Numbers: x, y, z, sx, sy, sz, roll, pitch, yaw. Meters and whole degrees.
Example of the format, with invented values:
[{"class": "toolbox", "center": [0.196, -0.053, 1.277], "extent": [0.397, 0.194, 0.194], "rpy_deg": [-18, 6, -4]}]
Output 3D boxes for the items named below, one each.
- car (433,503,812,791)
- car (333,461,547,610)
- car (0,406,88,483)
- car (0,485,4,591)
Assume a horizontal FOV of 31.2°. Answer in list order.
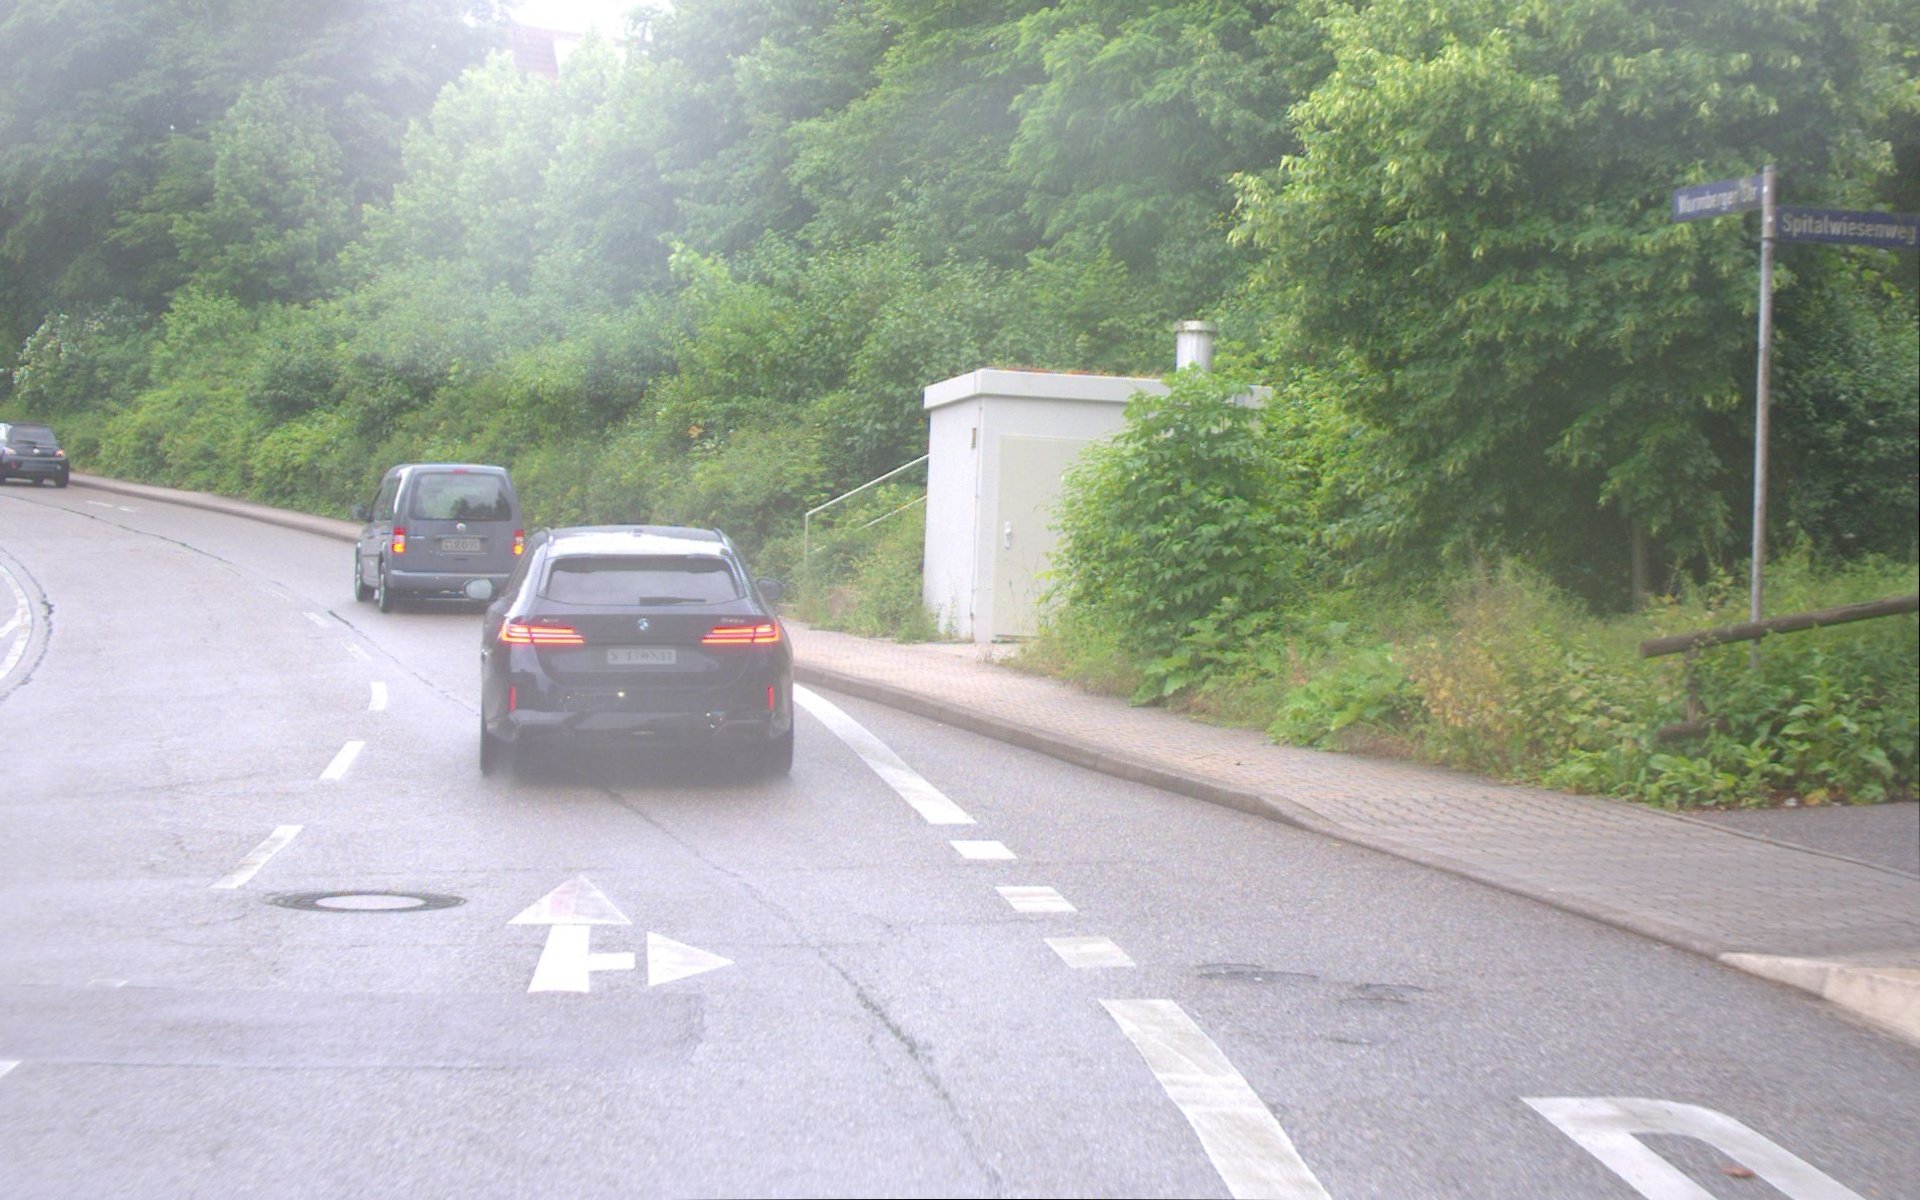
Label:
[{"class": "car", "center": [-2.287, 0.214, 22.099], "extent": [1.993, 1.580, 4.665], "rpy_deg": [2, 1, -10]}, {"class": "car", "center": [-6.537, -0.825, 42.907], "extent": [1.993, 1.742, 4.001], "rpy_deg": [1, 1, -18]}, {"class": "car", "center": [-22.190, -3.666, 81.515], "extent": [1.851, 1.656, 4.000], "rpy_deg": [2, 0, -30]}, {"class": "car", "center": [-14.135, -0.845, 46.837], "extent": [1.891, 1.482, 4.235], "rpy_deg": [0, 1, -12]}]
